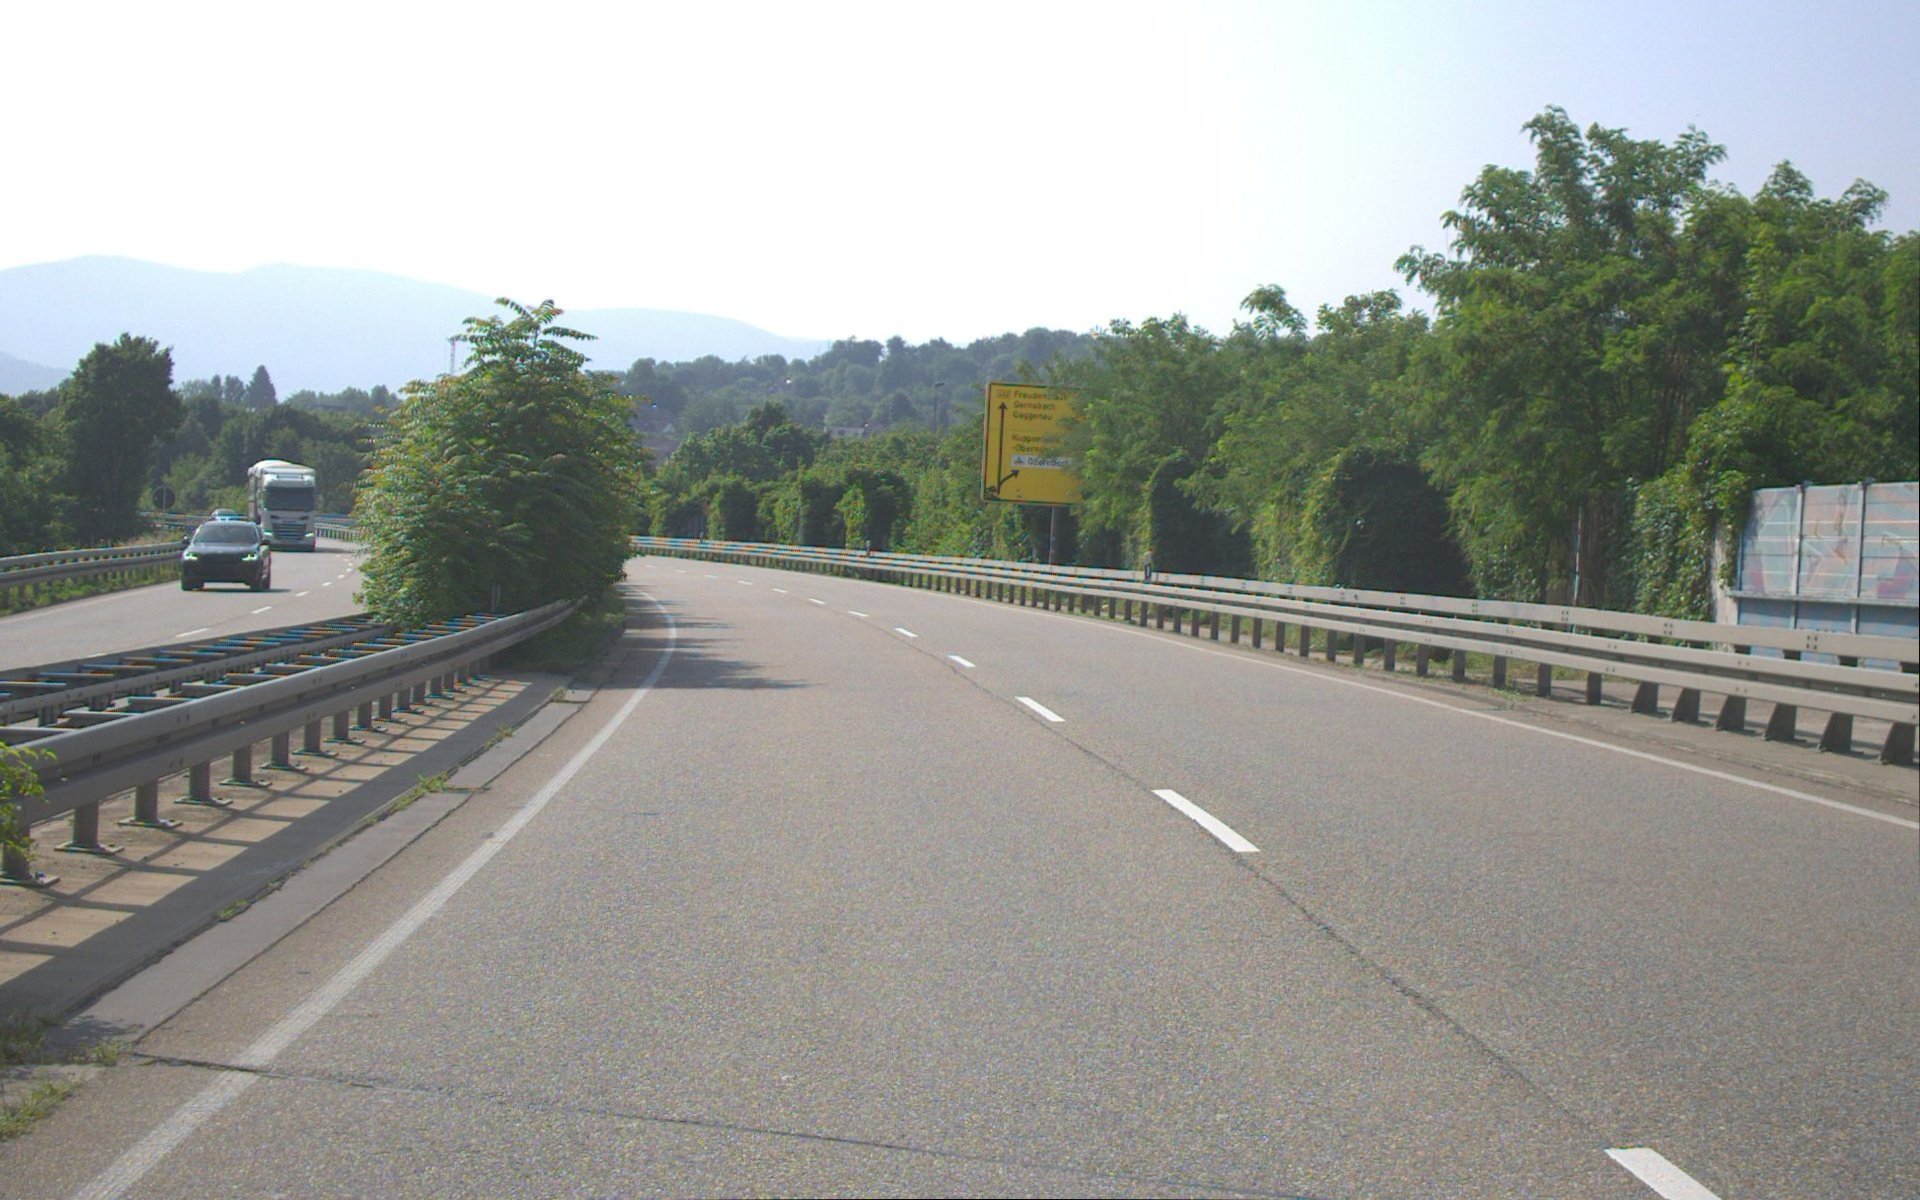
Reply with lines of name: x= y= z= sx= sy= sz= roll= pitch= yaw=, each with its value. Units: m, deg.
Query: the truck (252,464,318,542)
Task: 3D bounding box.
truck: x=-32.267 y=-4.638 z=164.344 sx=2.273 sy=3.674 sz=4.223 roll=0 pitch=1 yaw=-23

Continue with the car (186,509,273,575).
car: x=-17.613 y=-1.405 z=82.990 sx=1.667 sy=1.559 sz=3.490 roll=0 pitch=1 yaw=-6

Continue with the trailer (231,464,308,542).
trailer: x=-33.837 y=-4.743 z=168.190 sx=2.275 sy=3.669 sz=7.465 roll=0 pitch=1 yaw=-22
